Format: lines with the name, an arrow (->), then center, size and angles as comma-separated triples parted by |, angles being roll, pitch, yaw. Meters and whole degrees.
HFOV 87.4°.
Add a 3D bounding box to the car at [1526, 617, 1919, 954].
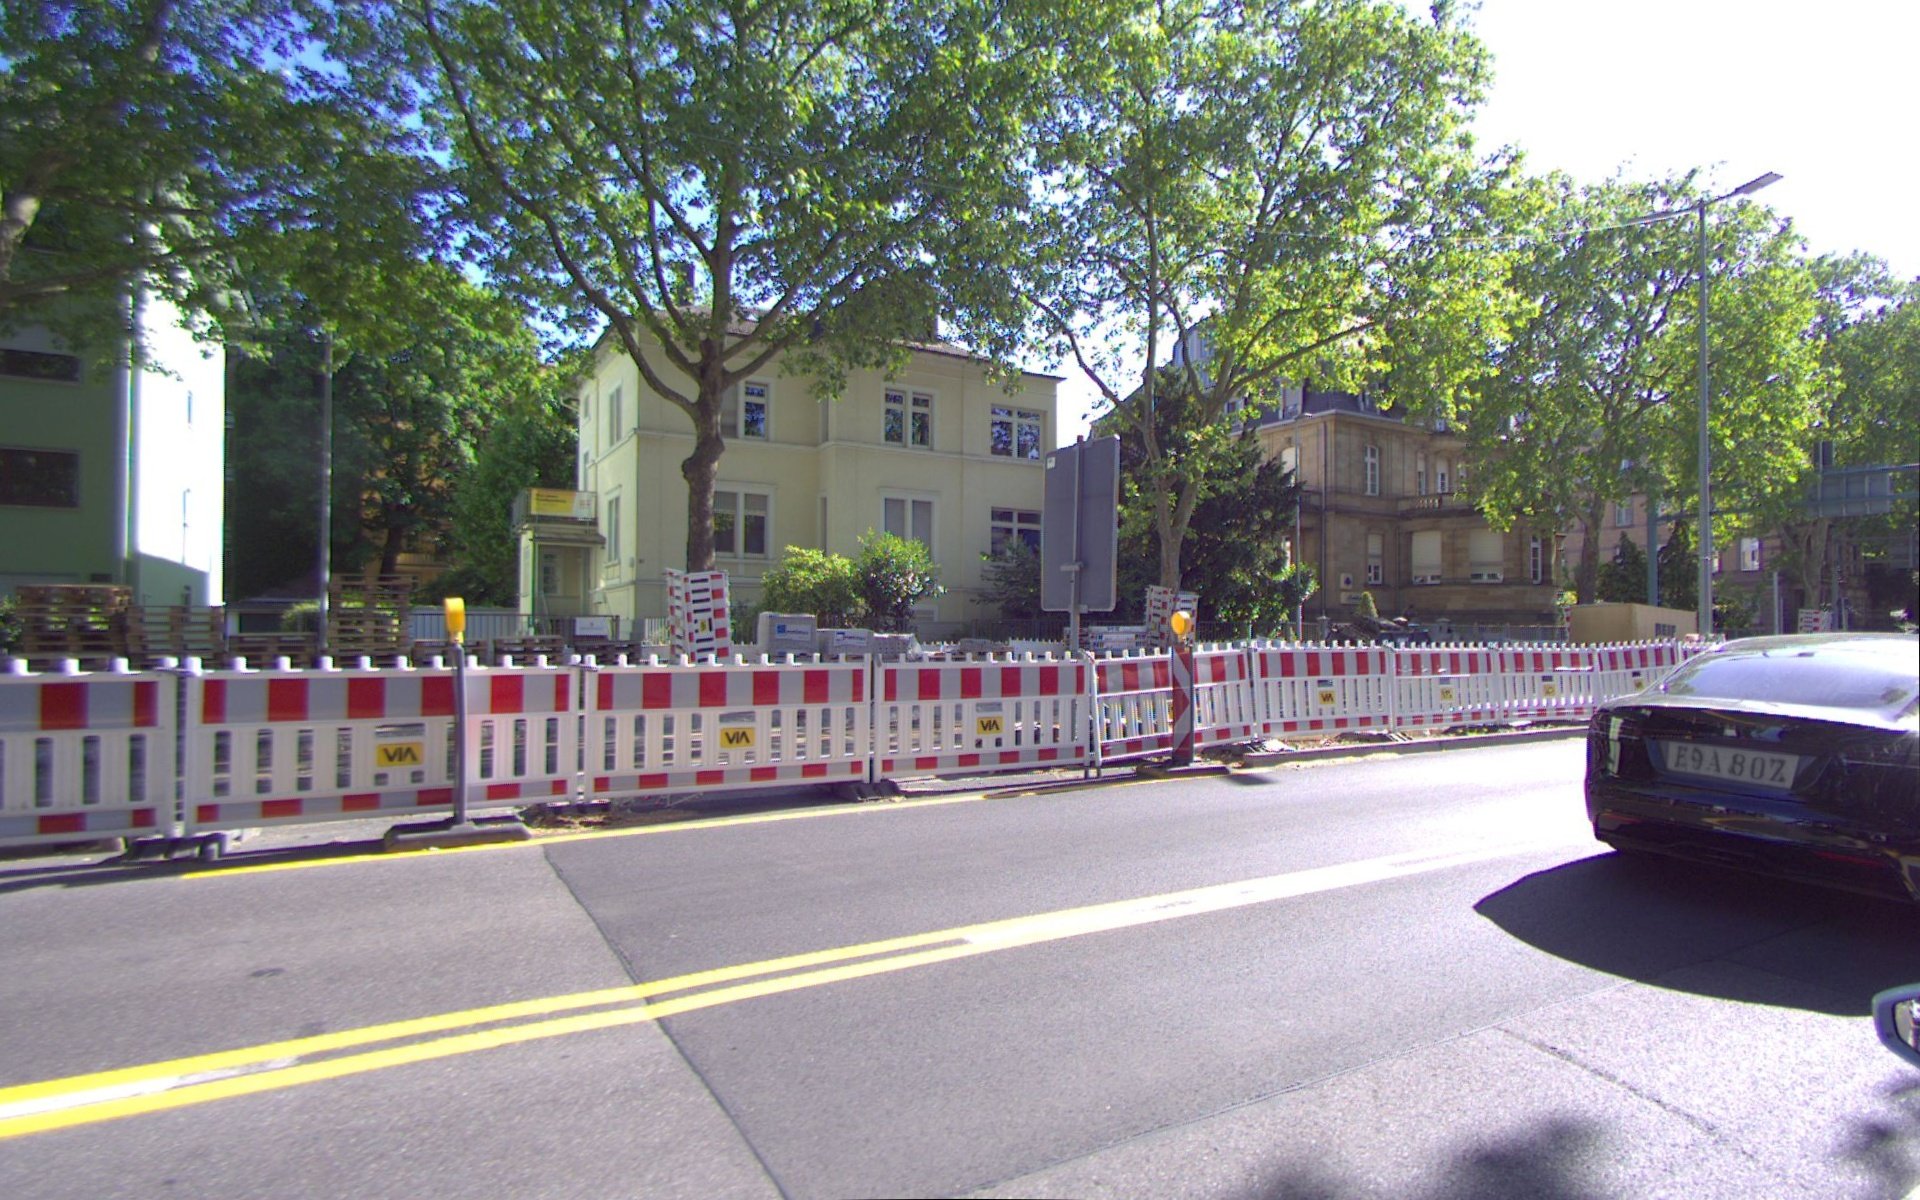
car -> 5.772, 0.860, 6.251 | 4.572, 1.431, 1.915 | 1, 0, -31
